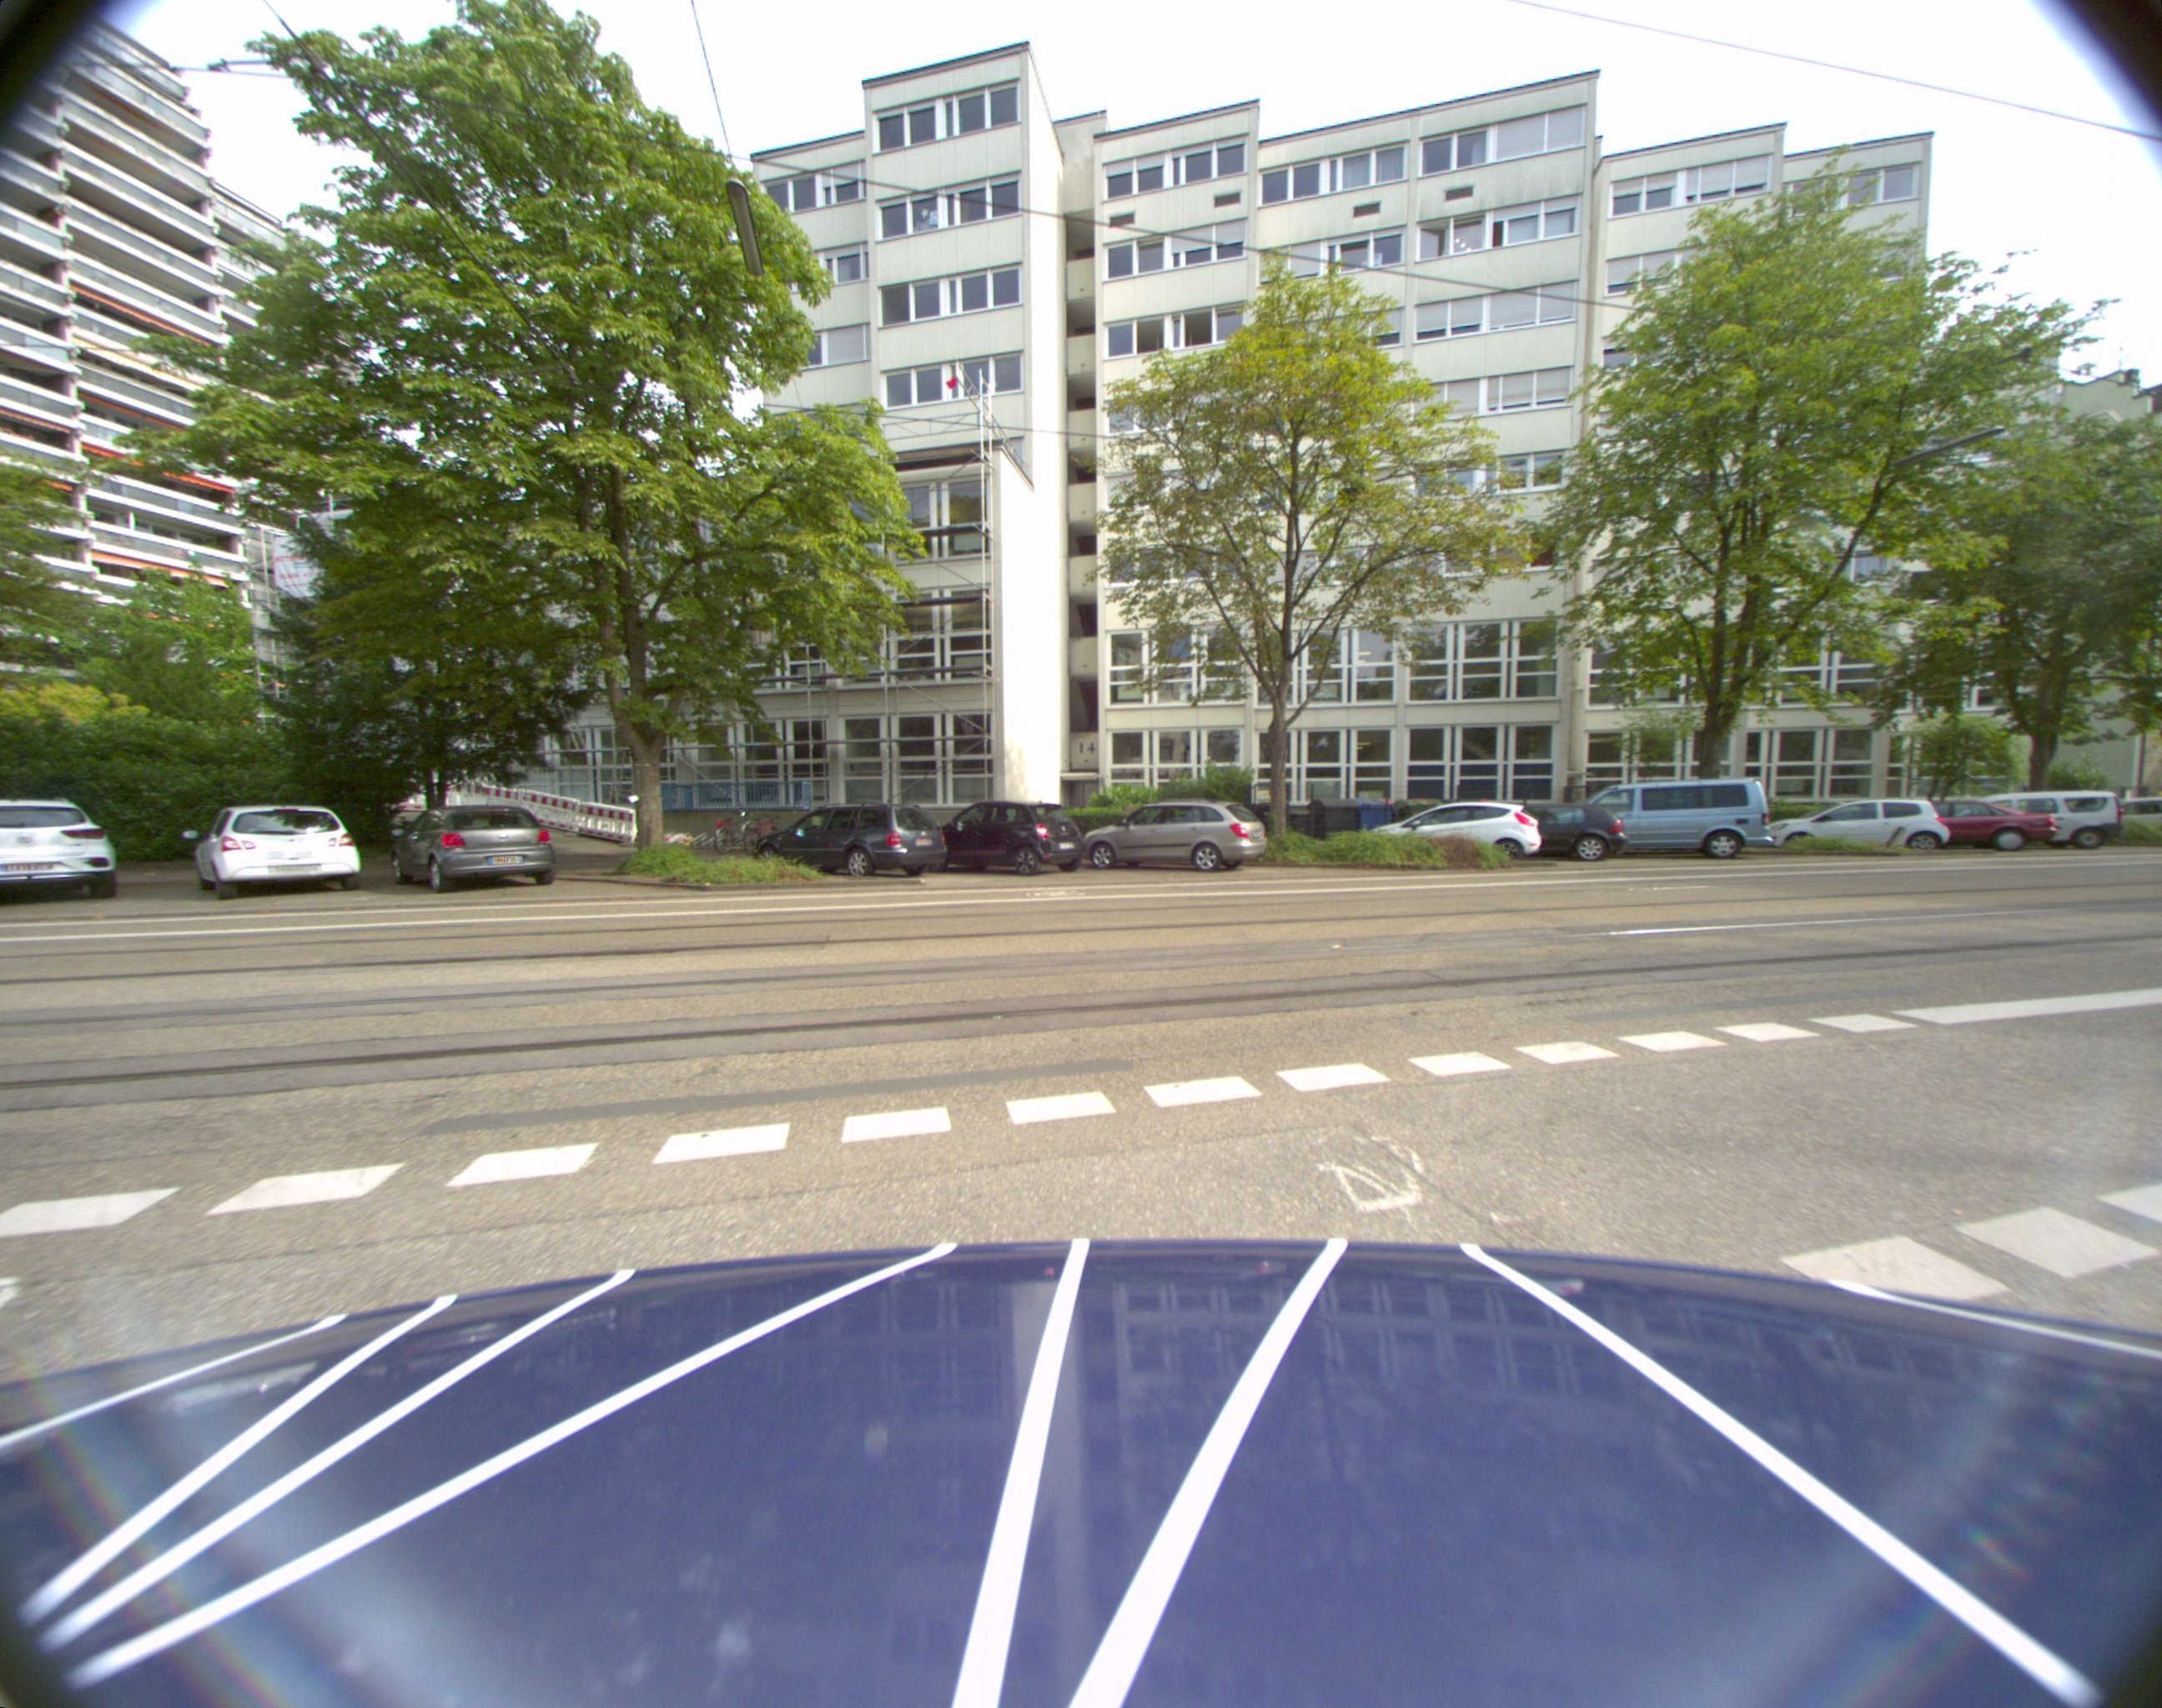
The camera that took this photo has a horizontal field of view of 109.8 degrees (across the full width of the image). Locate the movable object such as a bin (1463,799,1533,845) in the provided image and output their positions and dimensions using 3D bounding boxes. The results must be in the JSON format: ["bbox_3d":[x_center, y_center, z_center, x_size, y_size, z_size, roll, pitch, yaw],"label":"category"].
[{"bbox_3d":[13.519,-1.049,24.676,1.400,1.451,1.333,-1,4,-10],"label":"movable object such as a bin"}]

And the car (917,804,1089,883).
[{"bbox_3d":[-1.705,-0.301,16.310,3.407,1.529,1.598,3,5,33],"label":"car"}]

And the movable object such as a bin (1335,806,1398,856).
[{"bbox_3d":[8.952,-0.744,23.918,1.338,1.496,1.333,-1,4,-10],"label":"movable object such as a bin"}]

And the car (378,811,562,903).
[{"bbox_3d":[-11.074,-0.048,13.709,3.635,1.412,1.685,3,6,37],"label":"car"}]

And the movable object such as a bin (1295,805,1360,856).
[{"bbox_3d":[7.581,-0.747,23.441,1.416,1.522,1.328,-1,4,-10],"label":"movable object such as a bin"}]

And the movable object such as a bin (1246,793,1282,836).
[{"bbox_3d":[6.800,-1.474,28.348,1.178,1.560,1.175,1,4,8],"label":"movable object such as a bin"}]

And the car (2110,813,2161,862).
[{"bbox_3d":[37.484,-0.530,25.296,1.771,1.581,3.633,-4,6,-40],"label":"car"}]

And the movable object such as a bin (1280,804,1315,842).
[{"bbox_3d":[6.498,-0.938,22.854,0.743,1.099,0.785,-1,4,-8],"label":"movable object such as a bin"}]

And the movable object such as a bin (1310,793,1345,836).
[{"bbox_3d":[9.200,-1.501,28.398,1.172,1.560,1.180,1,4,15],"label":"movable object such as a bin"}]

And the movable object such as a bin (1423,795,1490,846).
[{"bbox_3d":[12.005,-1.090,24.336,1.354,1.588,1.333,-1,4,-10],"label":"movable object such as a bin"}]

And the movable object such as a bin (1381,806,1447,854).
[{"bbox_3d":[10.545,-0.785,24.118,1.354,1.494,1.333,-1,4,-10],"label":"movable object such as a bin"}]

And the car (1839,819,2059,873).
[{"bbox_3d":[24.609,-0.293,21.781,3.758,1.332,1.817,3,5,35],"label":"car"}]

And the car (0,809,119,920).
[{"bbox_3d":[-17.142,0.089,12.113,3.636,1.594,1.684,2,5,31],"label":"car"}]

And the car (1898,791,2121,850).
[{"bbox_3d":[27.317,-1.049,22.579,3.758,1.610,1.817,3,5,35],"label":"car"}]

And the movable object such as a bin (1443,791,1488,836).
[{"bbox_3d":[13.713,-1.465,27.137,1.172,1.560,1.180,1,4,15],"label":"movable object such as a bin"}]

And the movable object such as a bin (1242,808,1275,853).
[{"bbox_3d":[5.717,-0.768,24.492,0.911,1.400,1.024,1,4,8],"label":"movable object such as a bin"}]

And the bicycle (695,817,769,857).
[{"bbox_3d":[-9.784,-0.496,21.381,0.593,1.038,1.980,2,4,24],"label":"bicycle"}]

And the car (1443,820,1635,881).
[{"bbox_3d":[11.494,-0.146,19.283,3.961,1.380,1.818,2,3,31],"label":"car"}]

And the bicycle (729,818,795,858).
[{"bbox_3d":[-8.888,-0.471,21.259,0.593,1.038,1.979,1,4,14],"label":"bicycle"}]

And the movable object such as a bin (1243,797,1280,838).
[{"bbox_3d":[6.098,-1.245,25.737,1.117,1.384,1.063,1,4,8],"label":"movable object such as a bin"}]

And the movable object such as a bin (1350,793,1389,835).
[{"bbox_3d":[10.575,-1.467,27.889,1.172,1.506,1.180,1,4,15],"label":"movable object such as a bin"}]

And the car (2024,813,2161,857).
[{"bbox_3d":[33.670,-0.650,24.506,3.634,1.323,1.770,2,5,31],"label":"car"}]

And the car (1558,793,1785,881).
[{"bbox_3d":[14.958,-0.525,19.634,4.333,2.053,2.003,2,5,31],"label":"car"}]

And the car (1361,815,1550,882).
[{"bbox_3d":[8.857,-0.206,18.112,3.850,1.386,1.636,2,5,30],"label":"car"}]

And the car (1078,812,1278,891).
[{"bbox_3d":[2.094,-0.142,16.728,4.040,1.529,1.598,2,5,31],"label":"car"}]

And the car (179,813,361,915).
[{"bbox_3d":[-14.045,0.055,13.116,3.635,1.467,1.685,3,6,37],"label":"car"}]

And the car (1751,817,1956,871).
[{"bbox_3d":[21.381,-0.327,21.267,3.634,1.323,1.770,2,5,31],"label":"car"}]

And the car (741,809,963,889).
[{"bbox_3d":[-4.637,-0.184,15.373,4.158,1.408,1.818,2,5,27],"label":"car"}]
